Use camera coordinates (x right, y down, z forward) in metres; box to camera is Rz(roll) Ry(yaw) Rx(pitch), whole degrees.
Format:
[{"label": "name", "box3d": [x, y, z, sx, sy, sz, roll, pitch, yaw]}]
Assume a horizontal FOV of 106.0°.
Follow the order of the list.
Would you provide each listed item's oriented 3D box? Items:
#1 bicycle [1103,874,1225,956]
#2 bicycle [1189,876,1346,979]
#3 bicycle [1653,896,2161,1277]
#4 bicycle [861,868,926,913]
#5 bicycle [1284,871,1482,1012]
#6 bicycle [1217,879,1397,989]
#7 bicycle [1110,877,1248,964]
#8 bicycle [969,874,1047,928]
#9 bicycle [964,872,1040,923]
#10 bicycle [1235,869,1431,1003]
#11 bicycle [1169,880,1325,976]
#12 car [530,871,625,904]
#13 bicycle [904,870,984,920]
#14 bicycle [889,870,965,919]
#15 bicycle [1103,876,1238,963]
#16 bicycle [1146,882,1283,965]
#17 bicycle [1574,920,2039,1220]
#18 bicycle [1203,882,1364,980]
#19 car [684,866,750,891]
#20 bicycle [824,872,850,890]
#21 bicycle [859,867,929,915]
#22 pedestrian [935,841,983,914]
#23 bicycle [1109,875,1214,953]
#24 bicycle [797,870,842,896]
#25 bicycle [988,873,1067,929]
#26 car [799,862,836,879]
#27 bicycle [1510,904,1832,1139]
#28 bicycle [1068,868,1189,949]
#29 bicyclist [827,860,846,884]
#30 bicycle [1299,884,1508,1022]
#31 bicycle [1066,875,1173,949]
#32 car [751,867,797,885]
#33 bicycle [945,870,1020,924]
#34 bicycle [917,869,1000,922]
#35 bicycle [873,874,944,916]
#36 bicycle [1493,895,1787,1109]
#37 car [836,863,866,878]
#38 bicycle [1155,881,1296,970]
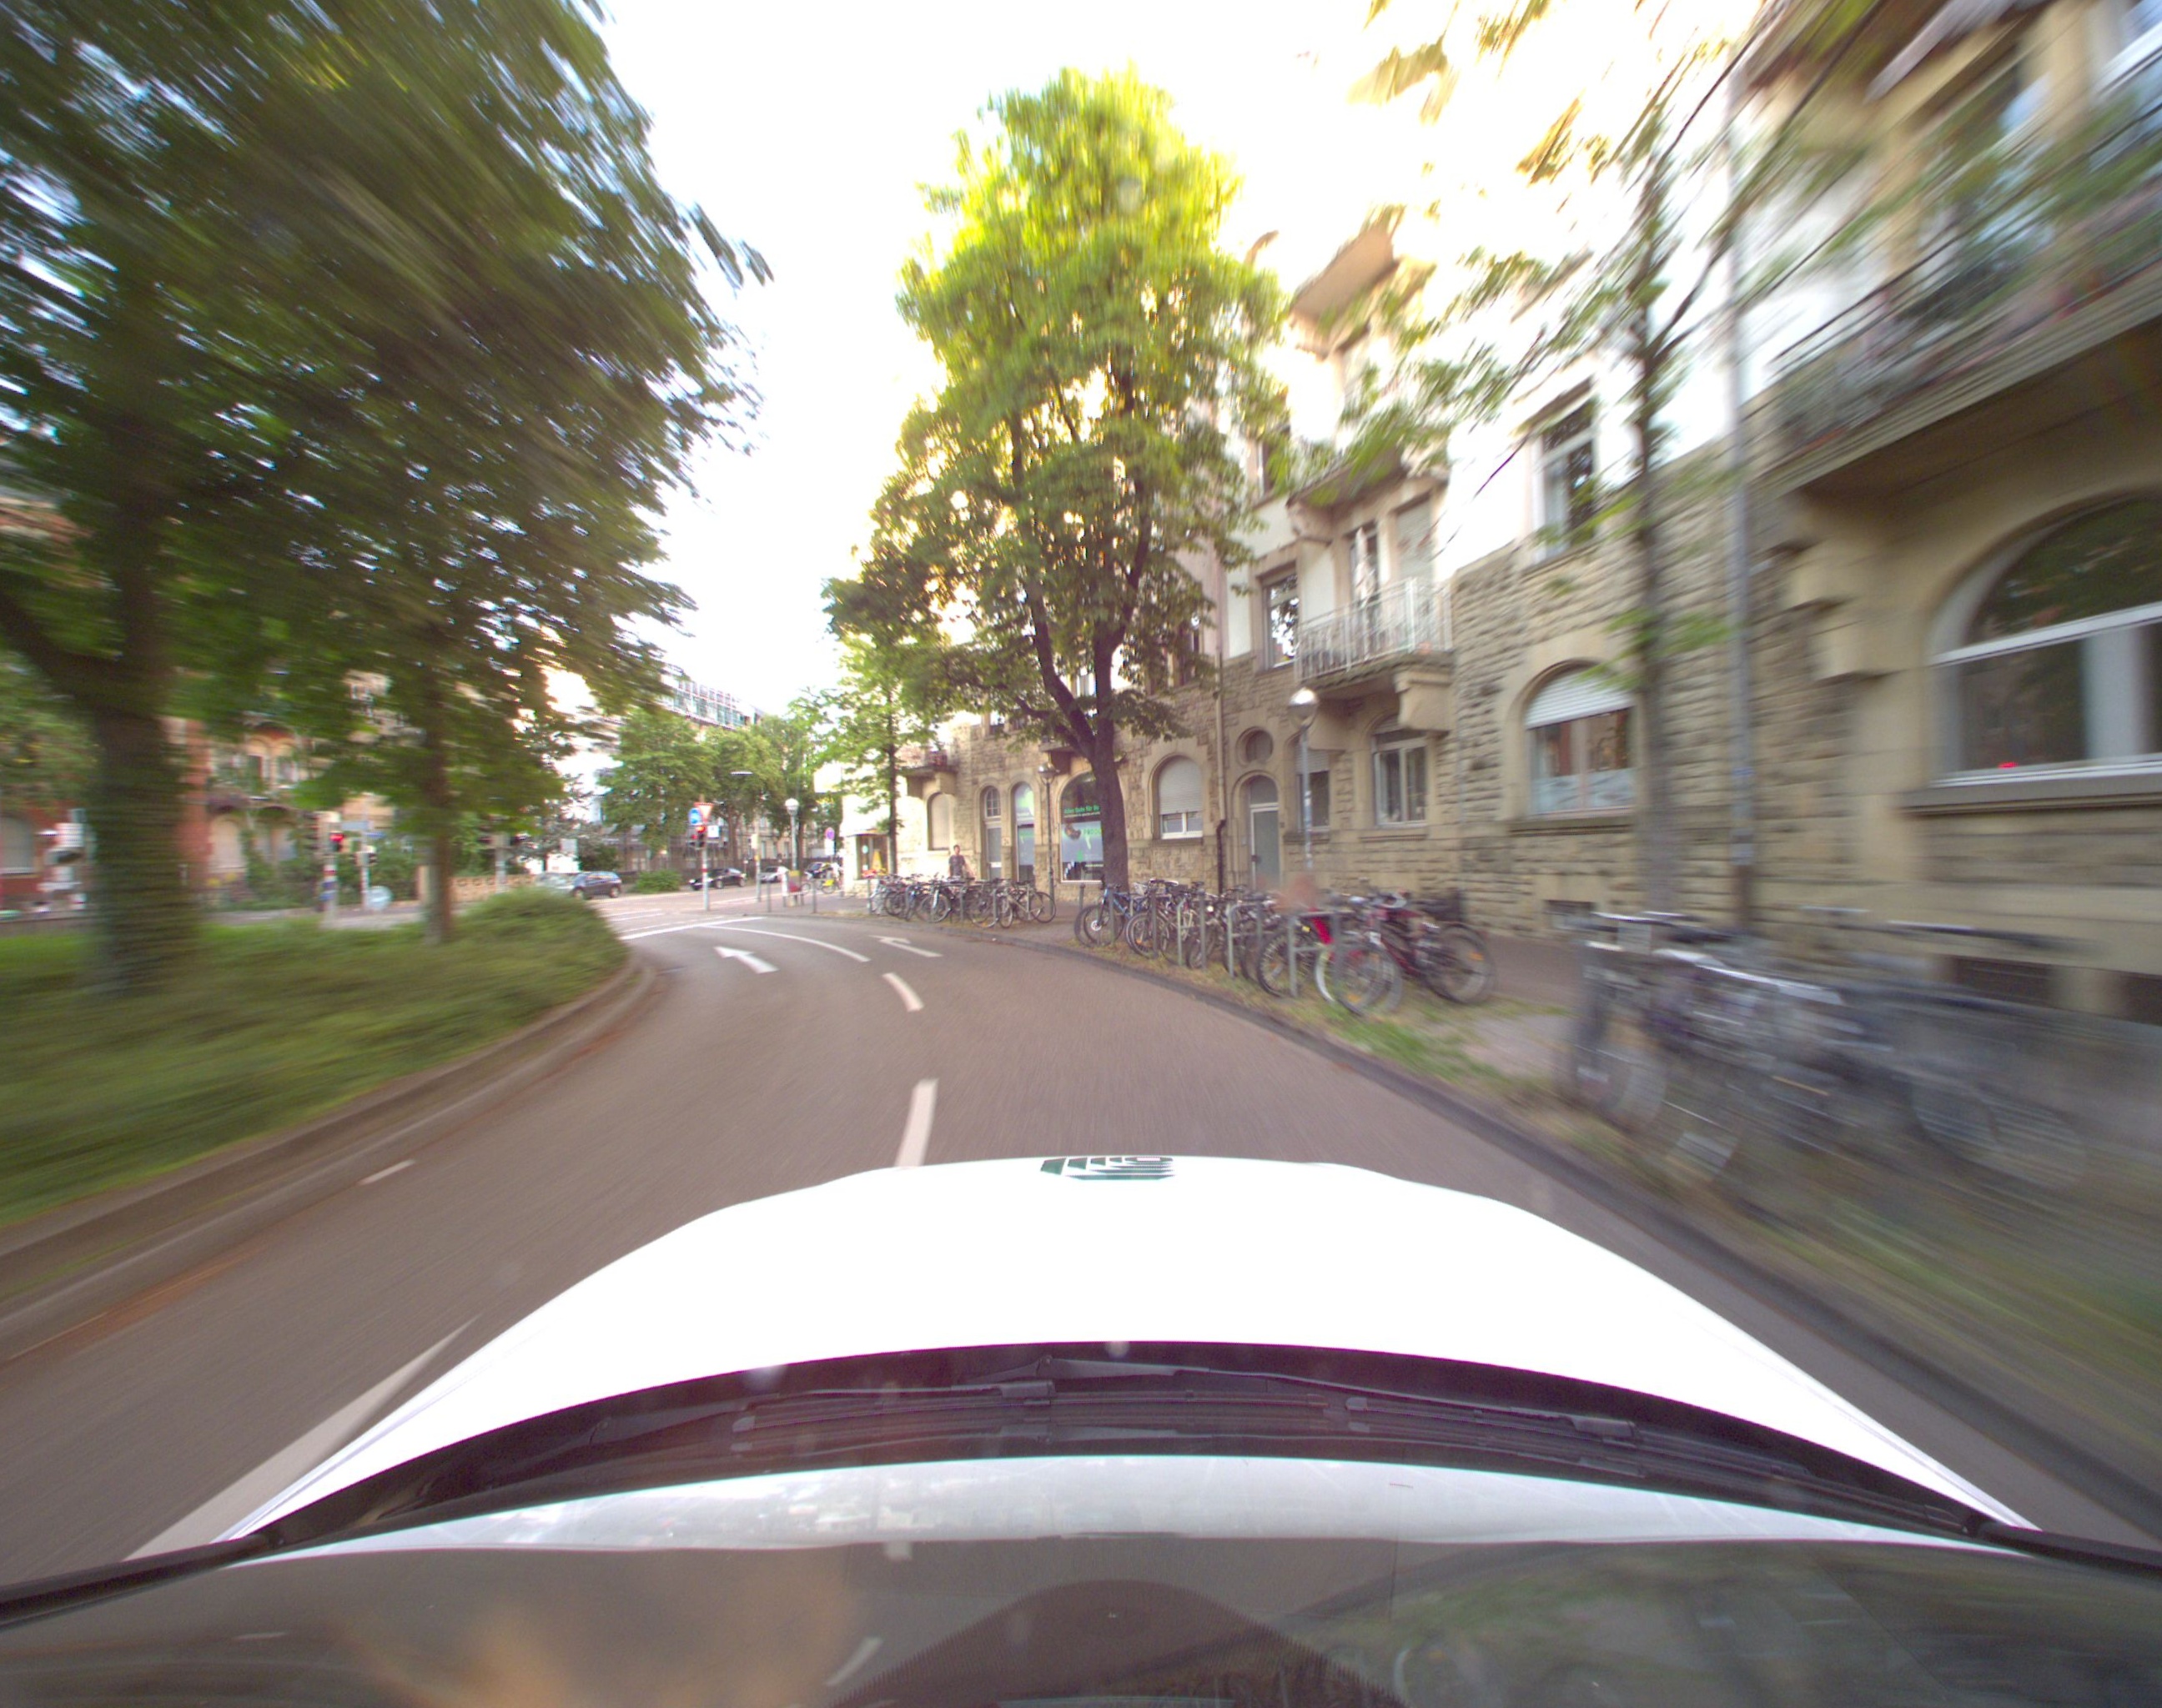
[{"label": "bicycle", "box3d": [1.297, 0.926, 12.670, 1.855, 1.144, 0.416, -2, 0, -19]}, {"label": "bicycle", "box3d": [2.281, 0.868, 9.937, 1.852, 1.116, 0.417, -2, 0, -15]}, {"label": "bicycle", "box3d": [3.104, 0.780, 3.045, 1.601, 1.148, 0.553, -2, 0, -7]}, {"label": "bicycle", "box3d": [-5.578, 1.067, 24.274, 0.643, 1.236, 1.804, -2, 0, 43]}, {"label": "bicycle", "box3d": [2.849, 0.789, 7.676, 1.794, 1.168, 0.445, -2, 0, -15]}, {"label": "bicycle", "box3d": [2.531, 0.857, 9.101, 1.920, 1.065, 0.549, -2, 0, -18]}, {"label": "bicycle", "box3d": [1.443, 0.966, 12.005, 1.855, 1.091, 0.416, -2, -19, -19]}, {"label": "bicycle", "box3d": [-1.590, 1.011, 17.954, 1.683, 1.078, 0.481, -2, 0, -37]}, {"label": "bicycle", "box3d": [-1.836, 1.007, 19.022, 1.680, 1.078, 0.482, -2, 0, -29]}, {"label": "bicycle", "box3d": [2.592, 0.792, 8.361, 1.920, 1.200, 0.549, -2, 0, -18]}, {"label": "bicycle", "box3d": [2.138, 0.916, 10.457, 1.920, 1.061, 0.532, -2, 0, -18]}, {"label": "car", "box3d": [-27.100, 1.770, 44.027, 1.933, 1.510, 4.430, -2, 0, 8]}, {"label": "bicycle", "box3d": [-3.485, 1.022, 20.844, 1.900, 1.162, 0.633, -2, 0, -35]}, {"label": "bicycle", "box3d": [-4.028, 1.044, 21.351, 0.632, 1.162, 1.903, -2, 0, 44]}, {"label": "bicycle", "box3d": [1.347, 0.967, 12.263, 1.855, 1.129, 0.416, -2, -19, -19]}, {"label": "bicycle", "box3d": [1.846, 0.925, 11.173, 1.855, 0.999, 0.416, -2, 0, -19]}, {"label": "bicycle", "box3d": [3.053, 0.854, 3.483, 1.601, 1.020, 0.553, -2, 0, -7]}, {"label": "bicycle", "box3d": [2.400, 0.884, 9.634, 1.852, 1.014, 0.417, -2, 0, -15]}, {"label": "car", "box3d": [-25.162, 1.639, 56.471, 1.933, 1.510, 4.643, -2, 0, 8]}, {"label": "bicycle", "box3d": [-15.039, 1.649, 50.238, 0.692, 1.055, 1.800, -2, 0, 13]}, {"label": "bicycle", "box3d": [-5.300, 1.039, 23.135, 0.691, 1.236, 1.804, -2, 0, 44]}, {"label": "pedestrian", "box3d": [-3.664, 0.678, 24.499, 1.018, 2.085, 1.050, -3, 1, -33]}, {"label": "bicycle", "box3d": [1.336, 0.941, 13.234, 1.866, 1.104, 0.567, -2, 0, -42]}, {"label": "bicycle", "box3d": [-12.351, 1.364, 38.529, 1.884, 1.130, 0.724, -2, 0, -31]}, {"label": "bicycle", "box3d": [-1.142, 0.998, 17.652, 1.683, 1.078, 0.481, -2, 0, -37]}, {"label": "car", "box3d": [-26.689, 1.668, 82.646, 1.933, 1.482, 4.178, -2, 0, 8]}, {"label": "bicycle", "box3d": [3.188, 0.853, 4.411, 1.603, 1.063, 0.417, -2, 0, -12]}, {"label": "bicycle", "box3d": [0.793, 0.903, 13.540, 1.885, 1.217, 0.489, -2, -6, -19]}, {"label": "bicyclist", "box3d": [-15.069, 1.093, 50.230, 0.692, 1.411, 0.868, -2, 0, 13]}, {"label": "bicycle", "box3d": [2.881, 0.845, 7.265, 1.794, 1.063, 0.445, -2, 0, -15]}, {"label": "bicycle", "box3d": [0.677, 0.958, 13.959, 1.892, 1.139, 0.487, 0, 3, -32]}, {"label": "car", "box3d": [-27.254, 1.910, 72.456, 1.995, 1.426, 4.638, -2, 0, 4]}, {"label": "bicycle", "box3d": [-2.299, 0.991, 19.098, 1.679, 1.127, 0.482, -2, 6, -28]}, {"label": "bicycle", "box3d": [-3.032, 1.007, 20.242, 1.900, 1.162, 0.697, -2, 0, -35]}, {"label": "bicycle", "box3d": [-4.748, 1.116, 22.476, 0.691, 1.038, 1.818, -2, 0, 44]}, {"label": "bicycle", "box3d": [3.302, 0.824, 4.819, 1.603, 1.076, 0.417, -2, 0, -12]}, {"label": "car", "box3d": [-25.858, 1.861, 91.775, 1.936, 1.482, 4.322, -2, 0, 2]}, {"label": "bicycle", "box3d": [1.943, 0.930, 10.900, 1.855, 1.051, 0.416, -2, 0, -19]}]
